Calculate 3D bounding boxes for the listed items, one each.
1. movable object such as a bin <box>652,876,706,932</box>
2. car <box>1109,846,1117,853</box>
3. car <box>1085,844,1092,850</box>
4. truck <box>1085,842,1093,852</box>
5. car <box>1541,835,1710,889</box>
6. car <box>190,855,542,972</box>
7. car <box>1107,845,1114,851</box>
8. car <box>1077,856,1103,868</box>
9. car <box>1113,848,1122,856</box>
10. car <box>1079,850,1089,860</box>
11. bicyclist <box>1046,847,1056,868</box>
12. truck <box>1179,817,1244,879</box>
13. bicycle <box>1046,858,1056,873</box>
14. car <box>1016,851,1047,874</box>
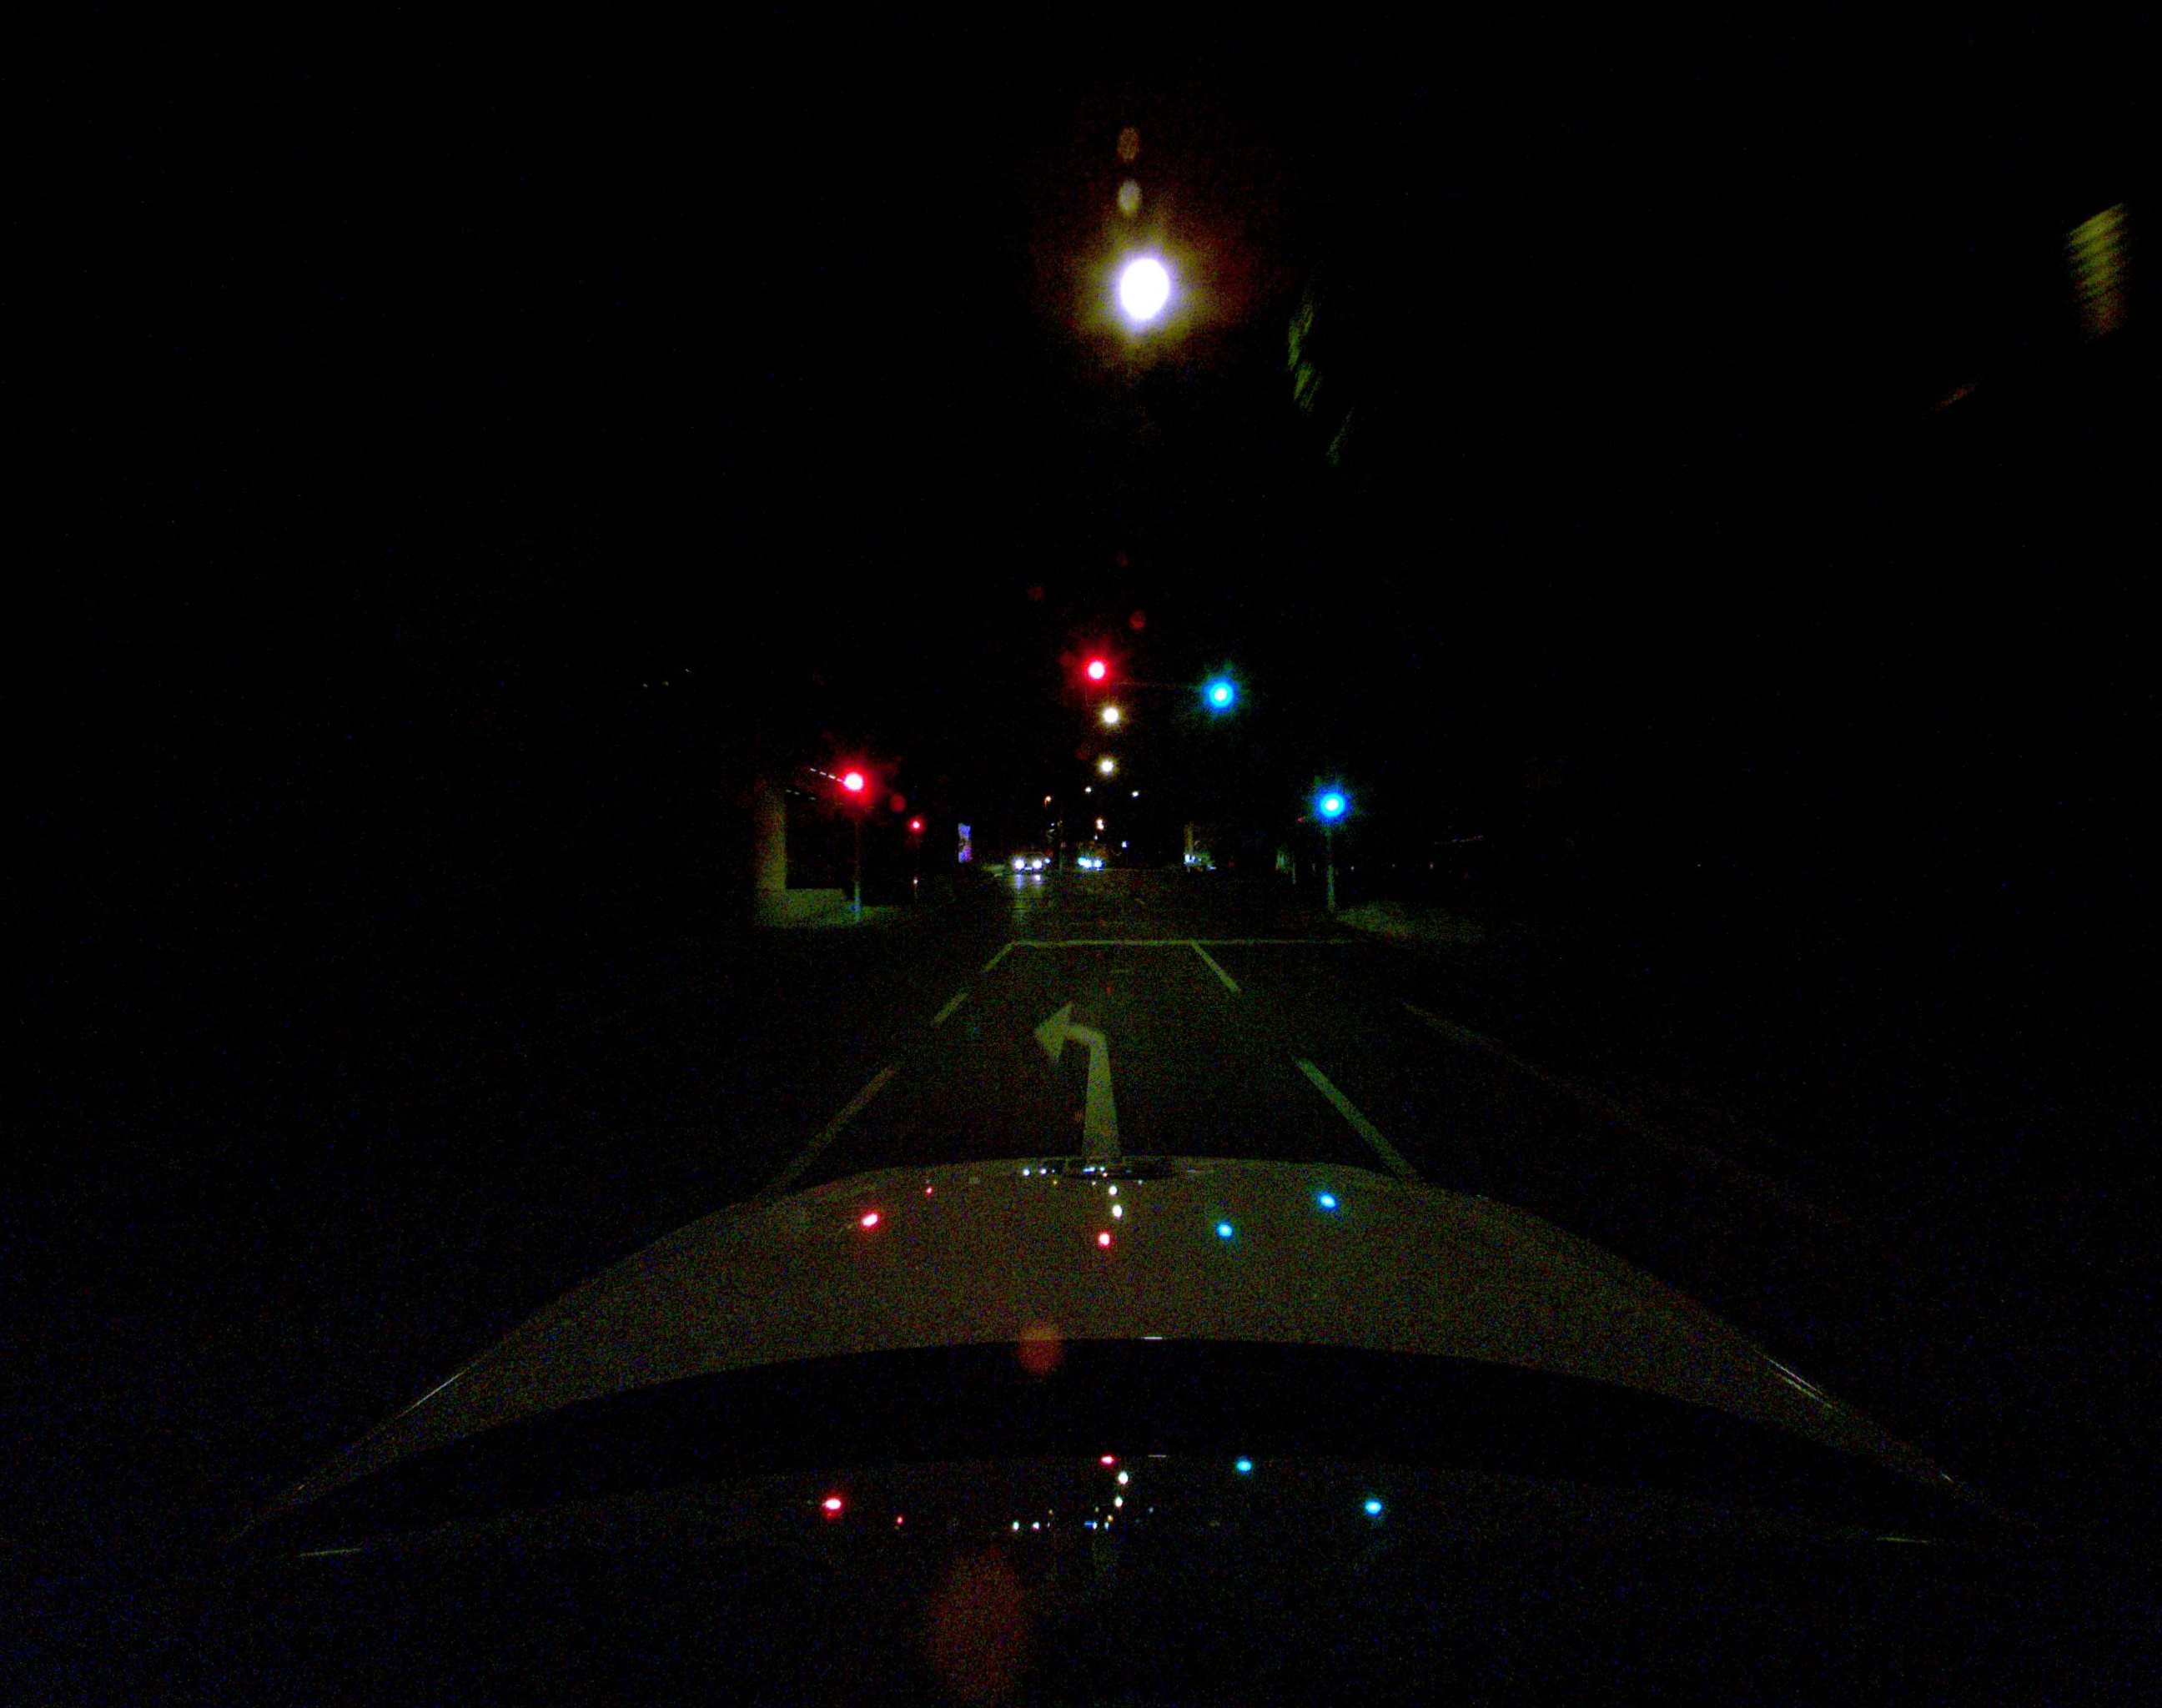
[{"bbox_3d":[-7.721,0.949,15.652,0.633,1.049,0.657,-1,-1,19],"label":"movable object such as a bin"},{"bbox_3d":[6.681,-0.965,169.358,1.628,1.451,3.486,0,0,1],"label":"car"},{"bbox_3d":[1.821,-1.766,197.319,1.809,1.491,3.999,0,0,0],"label":"car"},{"bbox_3d":[2.199,-1.890,219.793,2.080,2.848,5.830,0,0,0],"label":"truck"},{"bbox_3d":[17.477,0.271,26.304,4.108,1.280,1.770,-6,-1,8],"label":"car"},{"bbox_3d":[-9.700,0.765,11.257,3.347,1.451,1.673,-1,0,-1],"label":"car"},{"bbox_3d":[7.348,-1.488,201.579,1.628,1.451,3.486,0,0,1],"label":"car"},{"bbox_3d":[1.026,0.935,95.740,1.921,1.388,4.557,0,0,-17],"label":"car"},{"bbox_3d":[6.932,-0.341,153.369,1.628,1.451,3.486,0,0,1],"label":"car"},{"bbox_3d":[0.554,0.157,145.141,1.808,1.684,4.001,-1,0,1],"label":"car"},{"bbox_3d":[-2.432,0.299,66.173,0.688,1.637,0.896,-1,-1,1],"label":"bicyclist"},{"bbox_3d":[7.001,-0.308,44.553,2.739,3.110,6.261,0,0,2],"label":"truck"},{"bbox_3d":[-2.423,0.917,66.254,0.693,1.149,1.951,-1,0,1],"label":"bicycle"},{"bbox_3d":[-3.400,0.572,56.841,1.850,1.534,4.029,0,0,1],"label":"car"}]
